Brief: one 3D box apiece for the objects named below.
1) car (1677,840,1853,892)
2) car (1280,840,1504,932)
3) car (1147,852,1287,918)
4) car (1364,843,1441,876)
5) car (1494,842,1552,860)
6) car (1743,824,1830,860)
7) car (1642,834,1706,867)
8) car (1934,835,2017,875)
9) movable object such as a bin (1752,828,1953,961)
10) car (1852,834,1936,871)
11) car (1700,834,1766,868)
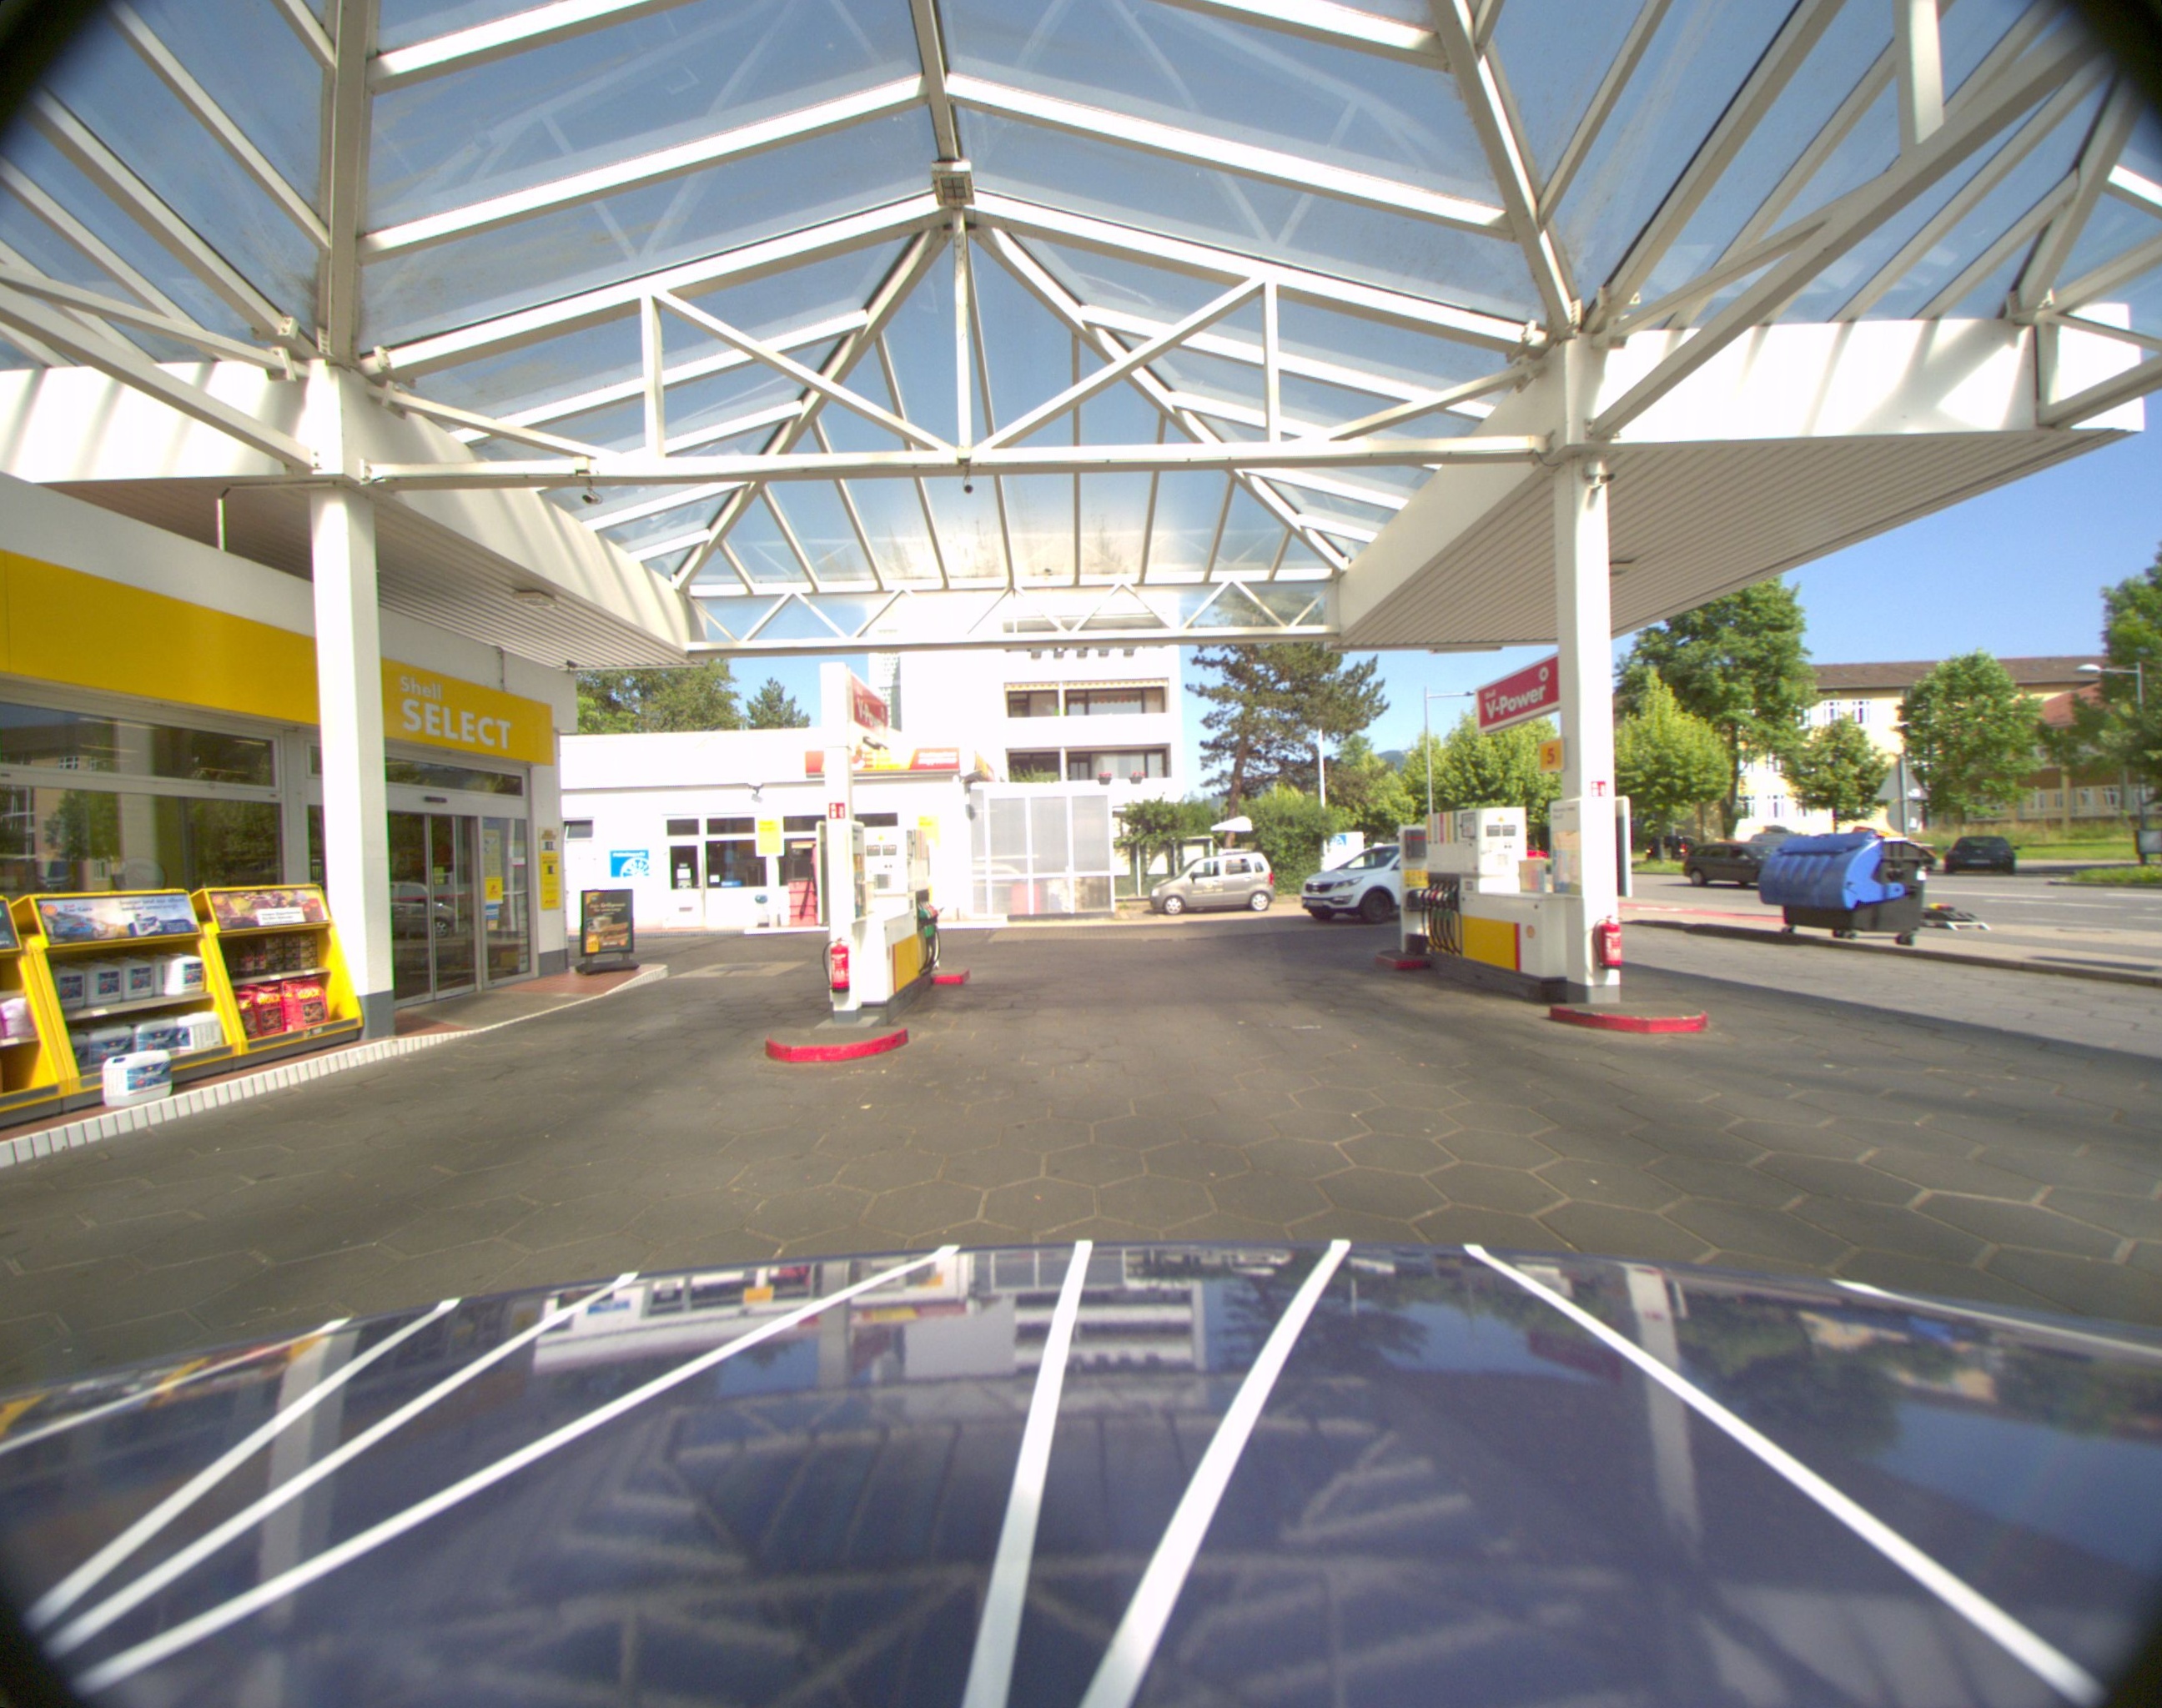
[{"bbox_3d":[21.827,0.341,24.527,1.569,1.459,4.376,-3,1,-3],"label":"car"},{"bbox_3d":[6.813,0.646,16.692,4.311,1.696,1.959,-2,0,-20],"label":"car"},{"bbox_3d":[3.792,0.861,21.659,3.659,1.608,1.692,-3,1,1],"label":"car"},{"bbox_3d":[17.812,0.292,42.082,4.411,1.710,1.700,-1,1,-32],"label":"car"},{"bbox_3d":[34.310,-0.245,58.979,3.730,1.383,1.878,0,1,-18],"label":"car"},{"bbox_3d":[34.556,-0.586,37.201,4.232,1.712,1.877,-1,1,-29],"label":"car"},{"bbox_3d":[32.878,-0.204,42.079,4.234,1.712,1.876,-1,1,-39],"label":"car"},{"bbox_3d":[34.467,0.027,29.260,4.234,1.451,1.737,0,0,-36],"label":"car"},{"bbox_3d":[10.446,0.511,10.379,1.342,1.678,1.337,1,1,1],"label":"movable object such as a bin"},{"bbox_3d":[34.291,-0.091,32.028,4.234,1.451,1.876,-1,1,-36],"label":"car"},{"bbox_3d":[34.359,-0.175,39.993,4.234,1.712,1.876,-1,1,-39],"label":"car"}]
